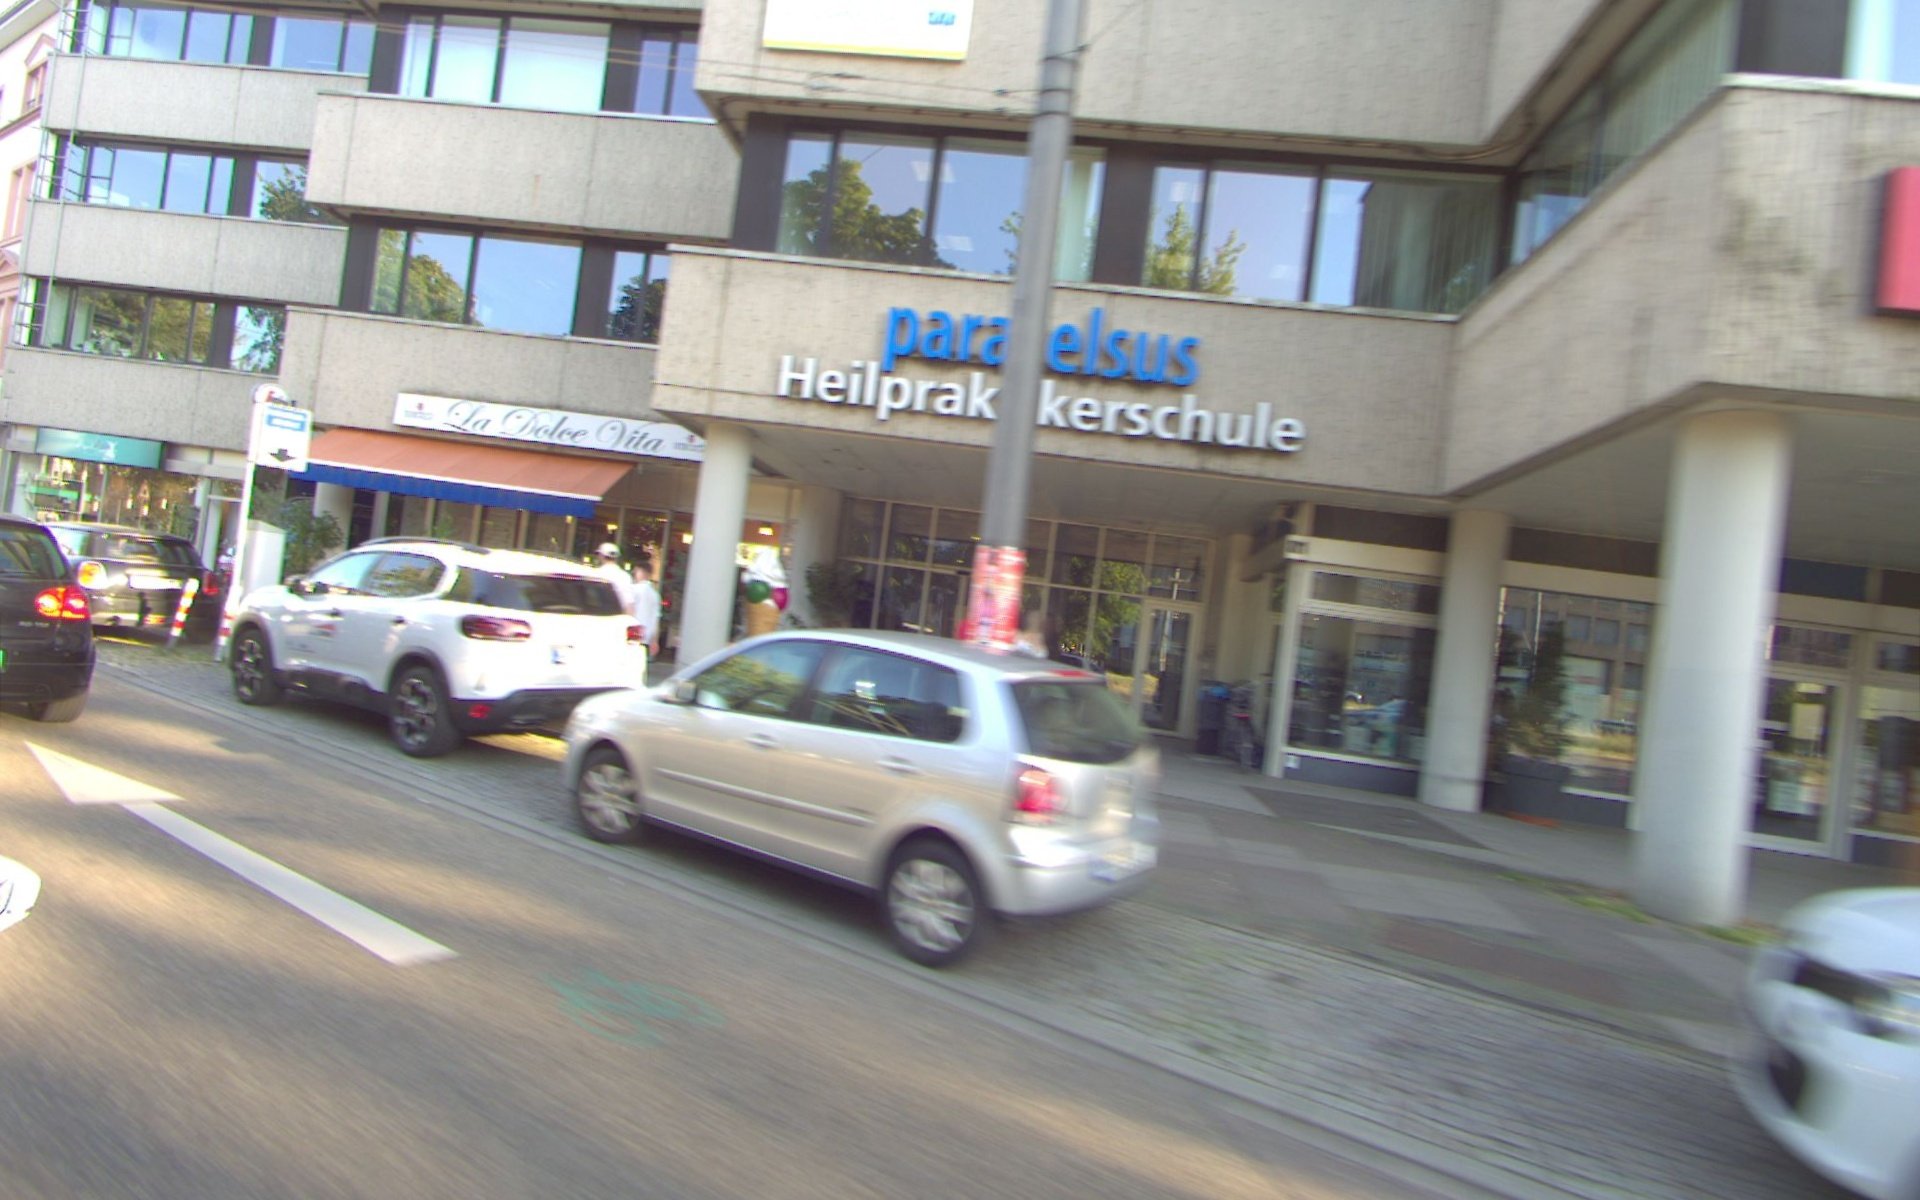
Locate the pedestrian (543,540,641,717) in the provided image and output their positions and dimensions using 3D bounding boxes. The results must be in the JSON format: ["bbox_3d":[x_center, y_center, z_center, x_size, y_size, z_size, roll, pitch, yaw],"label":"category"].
[{"bbox_3d":[-4.124,0.320,11.269,0.651,1.882,0.622,6,1,34],"label":"pedestrian"}]

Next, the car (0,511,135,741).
[{"bbox_3d":[-7.983,-0.030,7.386,4.037,1.477,1.751,6,-3,34],"label":"car"}]

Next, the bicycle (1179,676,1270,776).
[{"bbox_3d":[3.533,1.660,13.580,0.475,1.085,1.757,7,0,-6],"label":"bicycle"}]

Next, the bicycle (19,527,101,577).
[{"bbox_3d":[-23.427,-1.242,26.204,1.498,1.134,0.514,5,2,-11],"label":"bicycle"}]

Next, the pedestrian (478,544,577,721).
[{"bbox_3d":[-4.617,0.343,10.747,0.651,1.782,0.578,6,1,34],"label":"pedestrian"}]

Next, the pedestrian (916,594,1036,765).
[{"bbox_3d":[0.162,0.868,11.227,0.693,1.748,1.023,7,0,-34],"label":"pedestrian"}]

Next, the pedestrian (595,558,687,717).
[{"bbox_3d":[-3.740,0.434,11.802,0.651,1.762,0.622,6,1,34],"label":"pedestrian"}]

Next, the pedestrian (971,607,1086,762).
[{"bbox_3d":[0.808,0.996,11.827,0.983,1.693,0.636,7,0,-35],"label":"pedestrian"}]

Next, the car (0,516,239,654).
[{"bbox_3d":[-11.578,-0.241,13.428,3.758,1.459,1.664,6,0,29],"label":"car"}]

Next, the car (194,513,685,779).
[{"bbox_3d":[-4.873,0.295,9.255,4.430,1.735,1.869,6,0,31],"label":"car"}]

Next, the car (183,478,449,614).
[{"bbox_3d":[-14.565,-1.082,23.278,2.052,2.472,5.337,6,-1,7],"label":"car"}]

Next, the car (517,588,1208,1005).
[{"bbox_3d":[-0.707,0.872,5.989,3.793,1.459,1.663,6,0,34],"label":"car"}]

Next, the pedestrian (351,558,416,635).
[{"bbox_3d":[-10.314,-0.053,18.025,0.650,1.297,0.653,6,0,2],"label":"pedestrian"}]

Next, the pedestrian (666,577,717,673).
[{"bbox_3d":[-5.194,0.493,19.469,0.511,1.779,0.600,7,-2,9],"label":"pedestrian"}]

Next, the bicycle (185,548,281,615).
[{"bbox_3d":[-13.539,-0.335,18.795,0.525,1.133,1.813,6,0,-6],"label":"bicycle"}]

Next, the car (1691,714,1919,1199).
[{"bbox_3d":[4.355,1.390,2.746,3.550,1.576,1.609,6,0,32],"label":"car"}]
